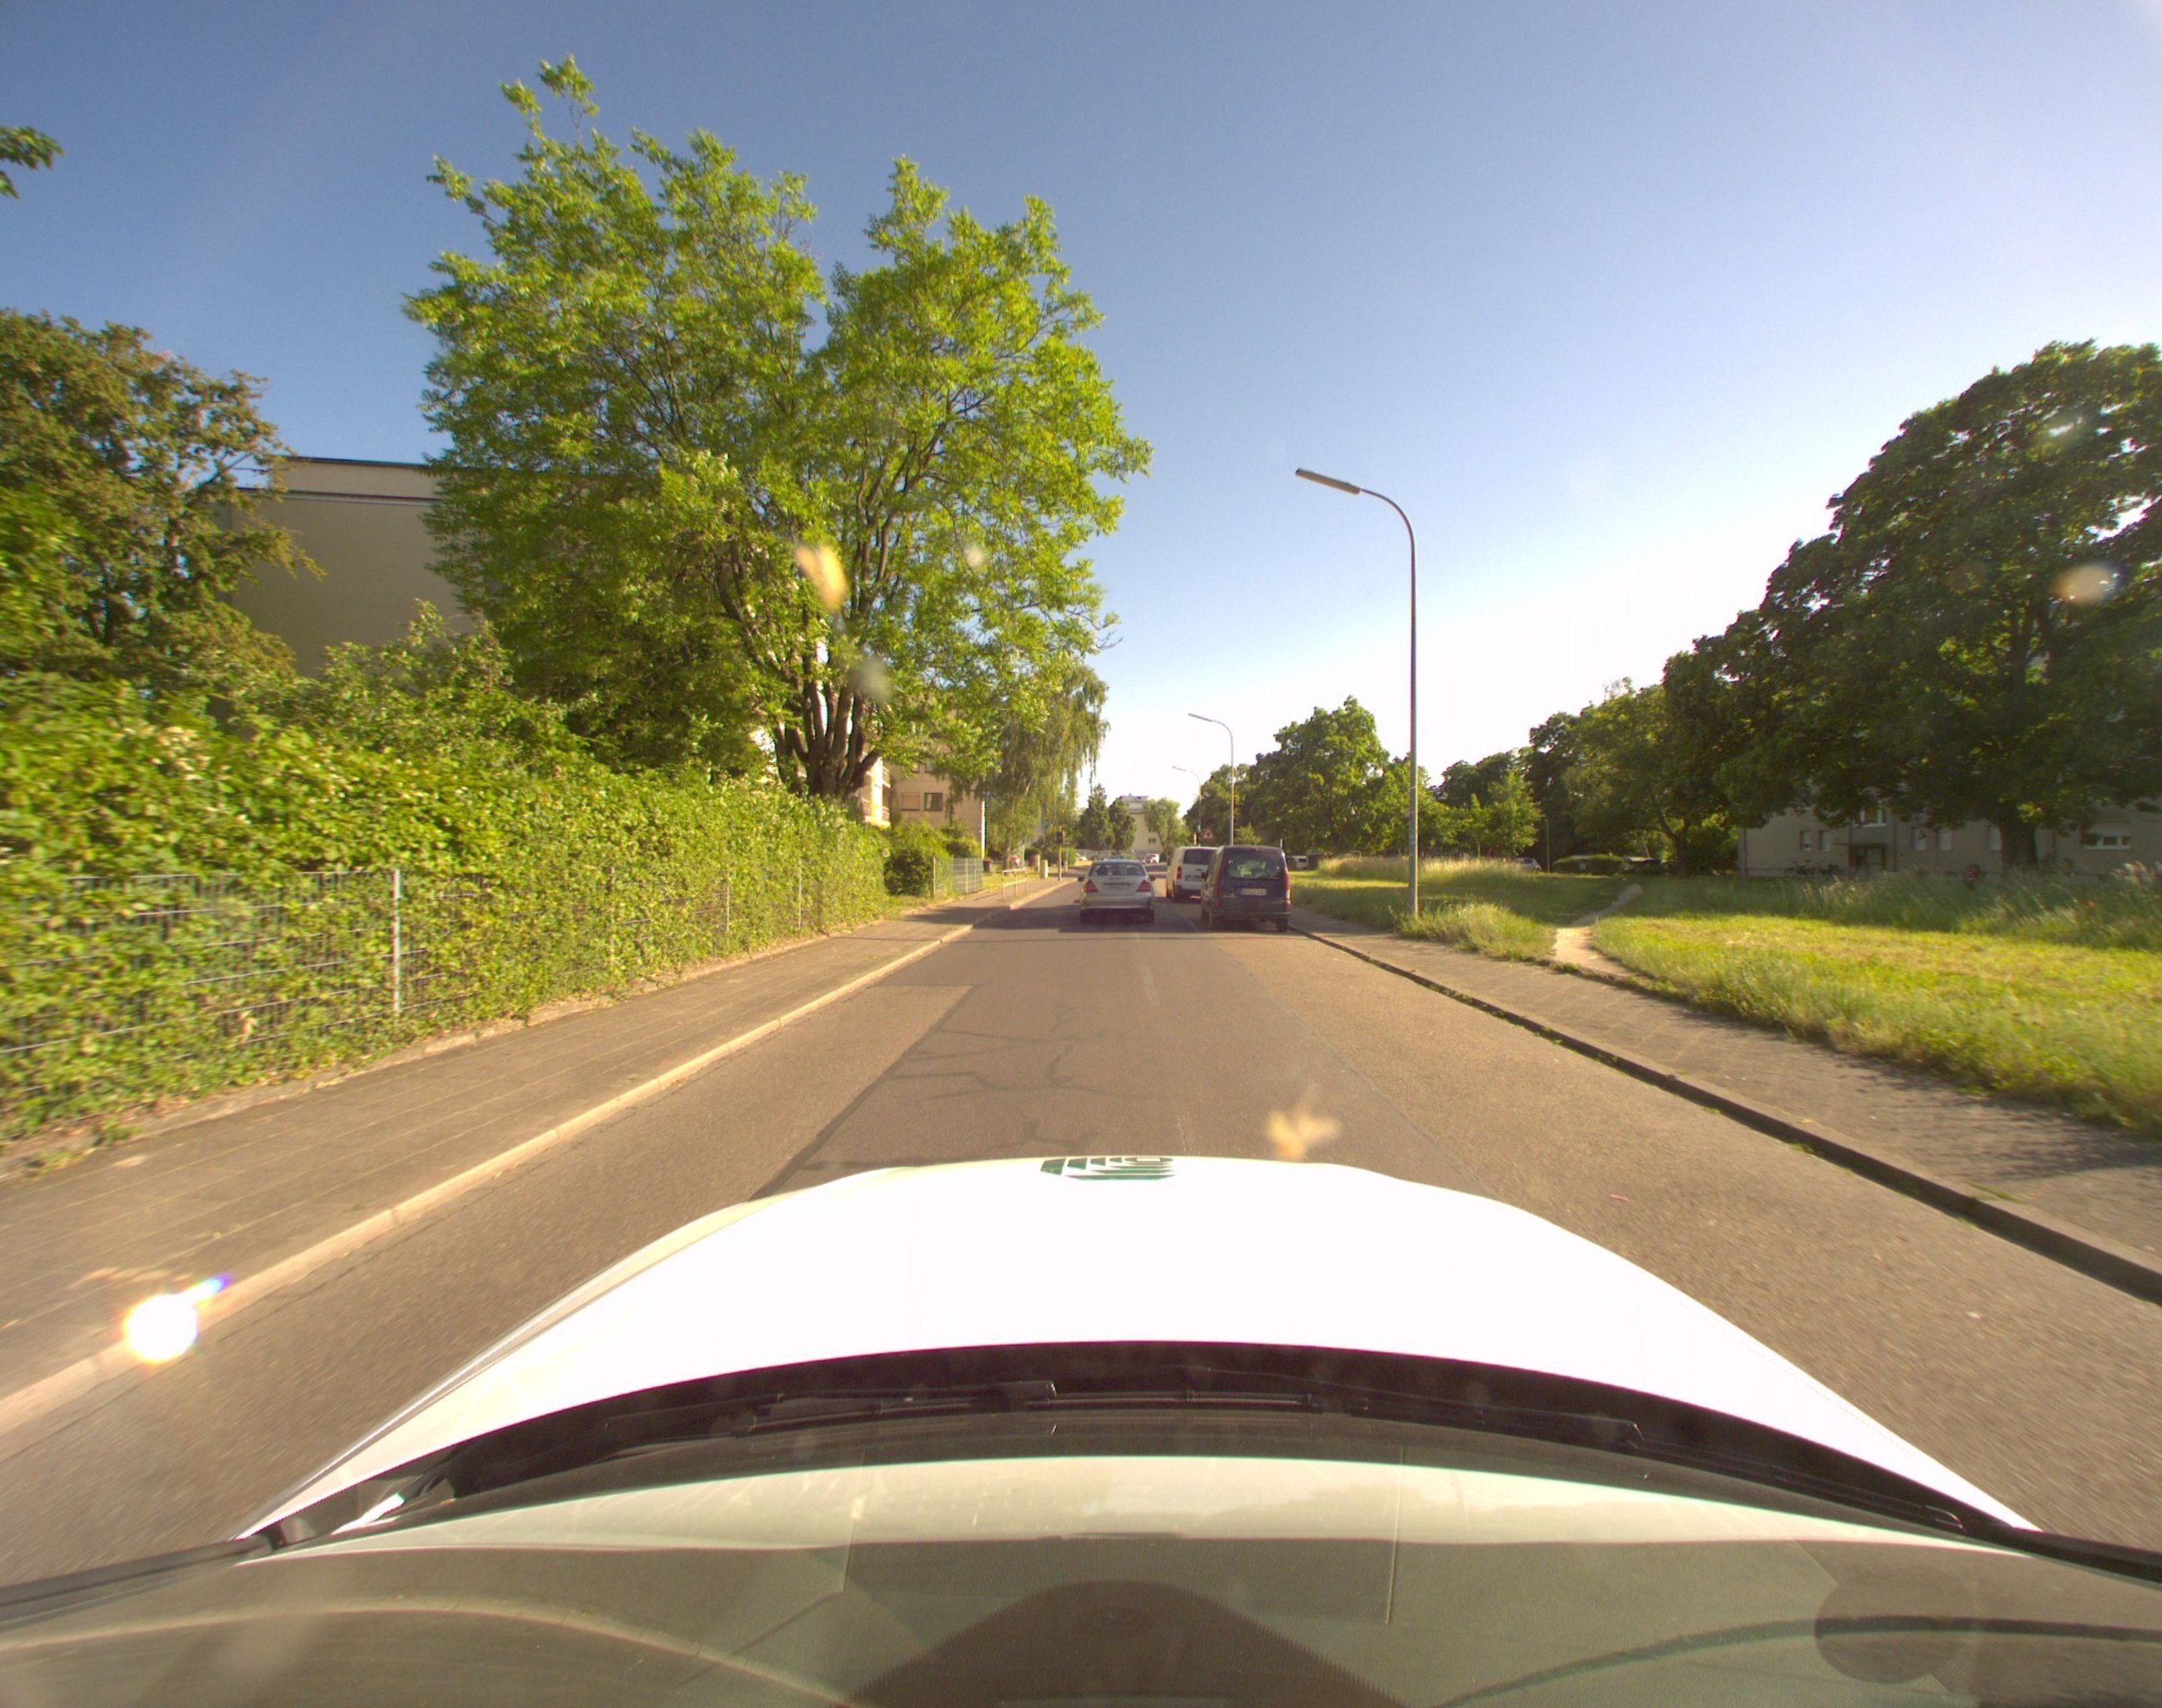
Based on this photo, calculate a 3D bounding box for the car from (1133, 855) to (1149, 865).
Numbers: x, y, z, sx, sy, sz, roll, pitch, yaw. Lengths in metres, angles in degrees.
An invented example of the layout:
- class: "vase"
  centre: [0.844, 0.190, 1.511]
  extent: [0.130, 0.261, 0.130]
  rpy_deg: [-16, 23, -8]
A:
- class: "car"
  centre: [10.187, 1.031, 138.540]
  extent: [2.022, 1.492, 5.272]
  rpy_deg: [3, 0, 11]

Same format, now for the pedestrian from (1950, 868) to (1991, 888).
- class: "pedestrian"
  centre: [40.152, 1.079, 36.766]
  extent: [0.741, 0.848, 1.003]
  rpy_deg: [0, 0, -5]

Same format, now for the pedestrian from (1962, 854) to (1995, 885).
- class: "pedestrian"
  centre: [42.764, 0.747, 38.805]
  extent: [0.754, 1.457, 0.765]
  rpy_deg: [0, 0, -9]

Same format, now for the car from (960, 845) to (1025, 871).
- class: "car"
  centre: [-8.432, 0.360, 77.850]
  extent: [5.876, 2.428, 2.216]
  rpy_deg: [-1, 1, 5]

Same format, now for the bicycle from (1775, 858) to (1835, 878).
- class: "bicycle"
  centre: [44.603, 0.849, 50.223]
  extent: [0.941, 1.205, 2.678]
  rpy_deg: [0, 0, -20]

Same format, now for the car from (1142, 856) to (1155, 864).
- class: "car"
  centre: [12.543, 1.140, 151.185]
  extent: [1.821, 1.518, 4.235]
  rpy_deg: [2, 0, 12]

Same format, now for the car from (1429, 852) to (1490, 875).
- class: "car"
  centre: [33.109, 0.799, 71.370]
  extent: [4.472, 2.012, 2.282]
  rpy_deg: [0, 0, 14]

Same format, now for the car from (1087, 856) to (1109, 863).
- class: "car"
  centre: [3.746, 1.282, 181.507]
  extent: [4.407, 1.461, 2.052]
  rpy_deg: [0, 0, 17]

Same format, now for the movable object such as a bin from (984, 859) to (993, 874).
- class: "movable object such as a bin"
  centre: [-6.267, 0.848, 55.078]
  extent: [0.564, 1.053, 0.554]
  rpy_deg: [0, -1, -17]

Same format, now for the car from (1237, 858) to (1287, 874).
- class: "car"
  centre: [16.549, 1.078, 74.723]
  extent: [4.398, 1.337, 1.751]
  rpy_deg: [1, 1, 10]

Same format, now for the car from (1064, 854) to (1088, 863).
- class: "car"
  centre: [-1.126, 1.042, 182.970]
  extent: [5.064, 1.951, 2.248]
  rpy_deg: [0, 0, 18]

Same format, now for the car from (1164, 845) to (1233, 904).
- class: "car"
  centre: [4.052, 0.679, 28.828]
  extent: [1.908, 1.871, 4.868]
  rpy_deg: [1, 0, 2]

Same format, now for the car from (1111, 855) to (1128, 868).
- class: "car"
  centre: [5.277, 0.958, 110.083]
  extent: [1.904, 1.603, 4.821]
  rpy_deg: [3, 0, 7]

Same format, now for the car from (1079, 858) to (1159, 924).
- class: "car"
  centre: [0.863, 0.802, 19.319]
  extent: [1.727, 1.434, 3.439]
  rpy_deg: [0, 0, 1]

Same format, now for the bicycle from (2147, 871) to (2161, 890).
- class: "bicycle"
  centre: [45.440, 1.108, 33.326]
  extent: [0.689, 0.812, 2.306]
  rpy_deg: [0, 0, 3]

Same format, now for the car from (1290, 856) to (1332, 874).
- class: "car"
  centre: [20.859, 0.959, 73.965]
  extent: [3.659, 1.578, 1.835]
  rpy_deg: [0, 0, 13]

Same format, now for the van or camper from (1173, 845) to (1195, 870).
- class: "van or camper"
  centre: [11.967, 0.387, 94.141]
  extent: [2.339, 2.596, 6.439]
  rpy_deg: [-3, -1, 7]

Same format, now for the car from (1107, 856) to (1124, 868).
- class: "car"
  centre: [4.411, 0.990, 103.627]
  extent: [1.637, 1.466, 4.341]
  rpy_deg: [1, 0, 9]

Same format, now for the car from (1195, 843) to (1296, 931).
- class: "car"
  centre: [3.581, 0.666, 18.351]
  extent: [1.690, 1.730, 4.088]
  rpy_deg: [1, 0, 4]

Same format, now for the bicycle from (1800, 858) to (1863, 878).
- class: "bicycle"
  centre: [45.733, 0.835, 49.650]
  extent: [0.941, 1.205, 2.678]
  rpy_deg: [0, 0, -20]

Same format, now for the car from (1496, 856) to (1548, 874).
- class: "car"
  centre: [40.989, 1.041, 75.807]
  extent: [3.844, 1.611, 2.004]
  rpy_deg: [0, 0, 7]
